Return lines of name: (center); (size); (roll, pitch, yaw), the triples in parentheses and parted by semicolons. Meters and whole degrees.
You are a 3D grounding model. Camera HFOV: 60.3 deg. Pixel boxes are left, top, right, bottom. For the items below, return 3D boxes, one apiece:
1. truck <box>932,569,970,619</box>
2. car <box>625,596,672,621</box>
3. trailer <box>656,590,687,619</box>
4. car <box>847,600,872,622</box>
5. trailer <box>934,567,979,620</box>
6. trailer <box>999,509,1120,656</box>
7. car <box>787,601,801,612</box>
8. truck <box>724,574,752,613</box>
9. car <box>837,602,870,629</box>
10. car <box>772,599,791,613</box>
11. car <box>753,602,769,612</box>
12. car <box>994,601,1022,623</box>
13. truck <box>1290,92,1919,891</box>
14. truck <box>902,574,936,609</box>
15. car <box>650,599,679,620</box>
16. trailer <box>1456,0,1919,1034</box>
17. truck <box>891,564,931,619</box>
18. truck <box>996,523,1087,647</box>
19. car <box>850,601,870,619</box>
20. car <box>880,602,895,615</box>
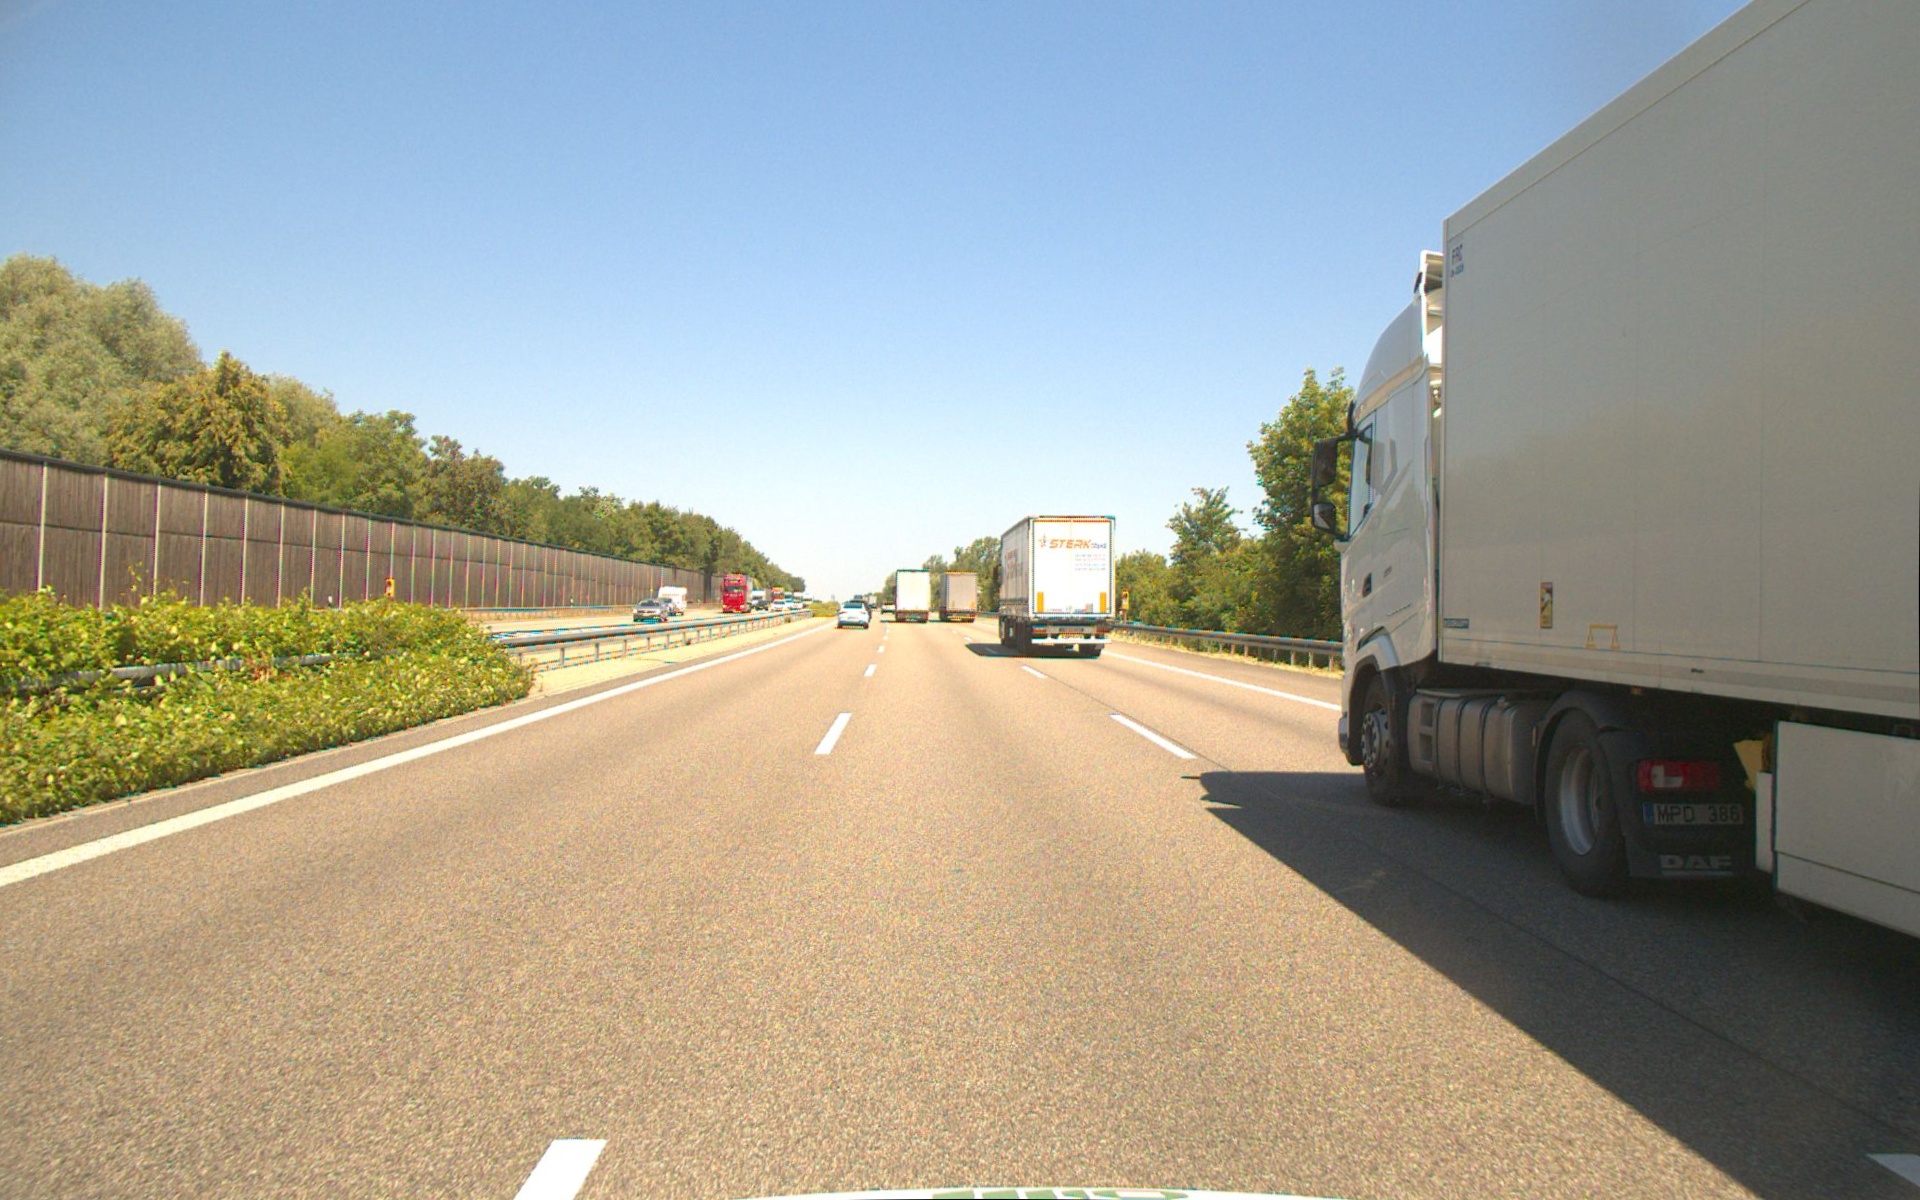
truck: (-0.811, -0.480, 147.414); (2.639, 4.289, 7.830); (2, -1, -5)
car: (-20.204, 0.569, 107.531); (2.081, 1.549, 5.980); (1, 0, -1)
trailer: (-26.071, 0.393, 149.671); (2.089, 2.520, 6.264); (1, 0, -3)
car: (-7.742, 0.833, 127.571); (1.818, 1.645, 3.997); (1, 0, -3)
trailer: (-0.360, -0.509, 141.941); (2.651, 4.289, 13.198); (2, 0, -5)
trailer: (3.024, -0.475, 54.460); (2.652, 4.160, 14.145); (1, 0, -2)
car: (-24.245, 0.892, 241.201); (1.769, 1.571, 4.244); (1, 0, -2)
truck: (-24.309, -0.722, 181.202); (2.311, 4.147, 7.149); (1, 0, -2)
car: (-6.249, 0.919, 96.834); (1.819, 1.512, 3.996); (1, 0, -4)
car: (-20.026, 0.642, 186.036); (1.861, 1.547, 4.416); (1, 0, -3)
car: (-27.919, 0.988, 232.503); (1.881, 1.399, 4.579); (1, 0, -3)
car: (3.636, 0.898, 126.361); (1.818, 1.645, 3.998); (1, 0, -3)
truck: (4.532, -0.557, 11.834); (2.899, 4.178, 6.204); (1, 0, -2)
truck: (-5.542, -1.098, 220.256); (3.310, 4.378, 11.433); (4, 0, -7)
car: (-25.736, 0.791, 144.097); (1.861, 1.741, 4.903); (1, 0, -4)
trailer: (4.724, -0.623, 4.015); (2.899, 4.178, 12.528); (1, 0, -2)
truck: (-4.030, -0.619, 133.329); (2.653, 4.157, 13.462); (2, 0, -4)
truck: (2.852, -0.500, 59.727); (2.652, 4.160, 6.962); (1, 0, -2)
car: (-9.293, 0.893, 153.859); (1.818, 1.645, 3.997); (1, 0, -3)
car: (-9.288, 1.066, 212.244); (1.818, 1.645, 3.998); (1, 0, -3)
